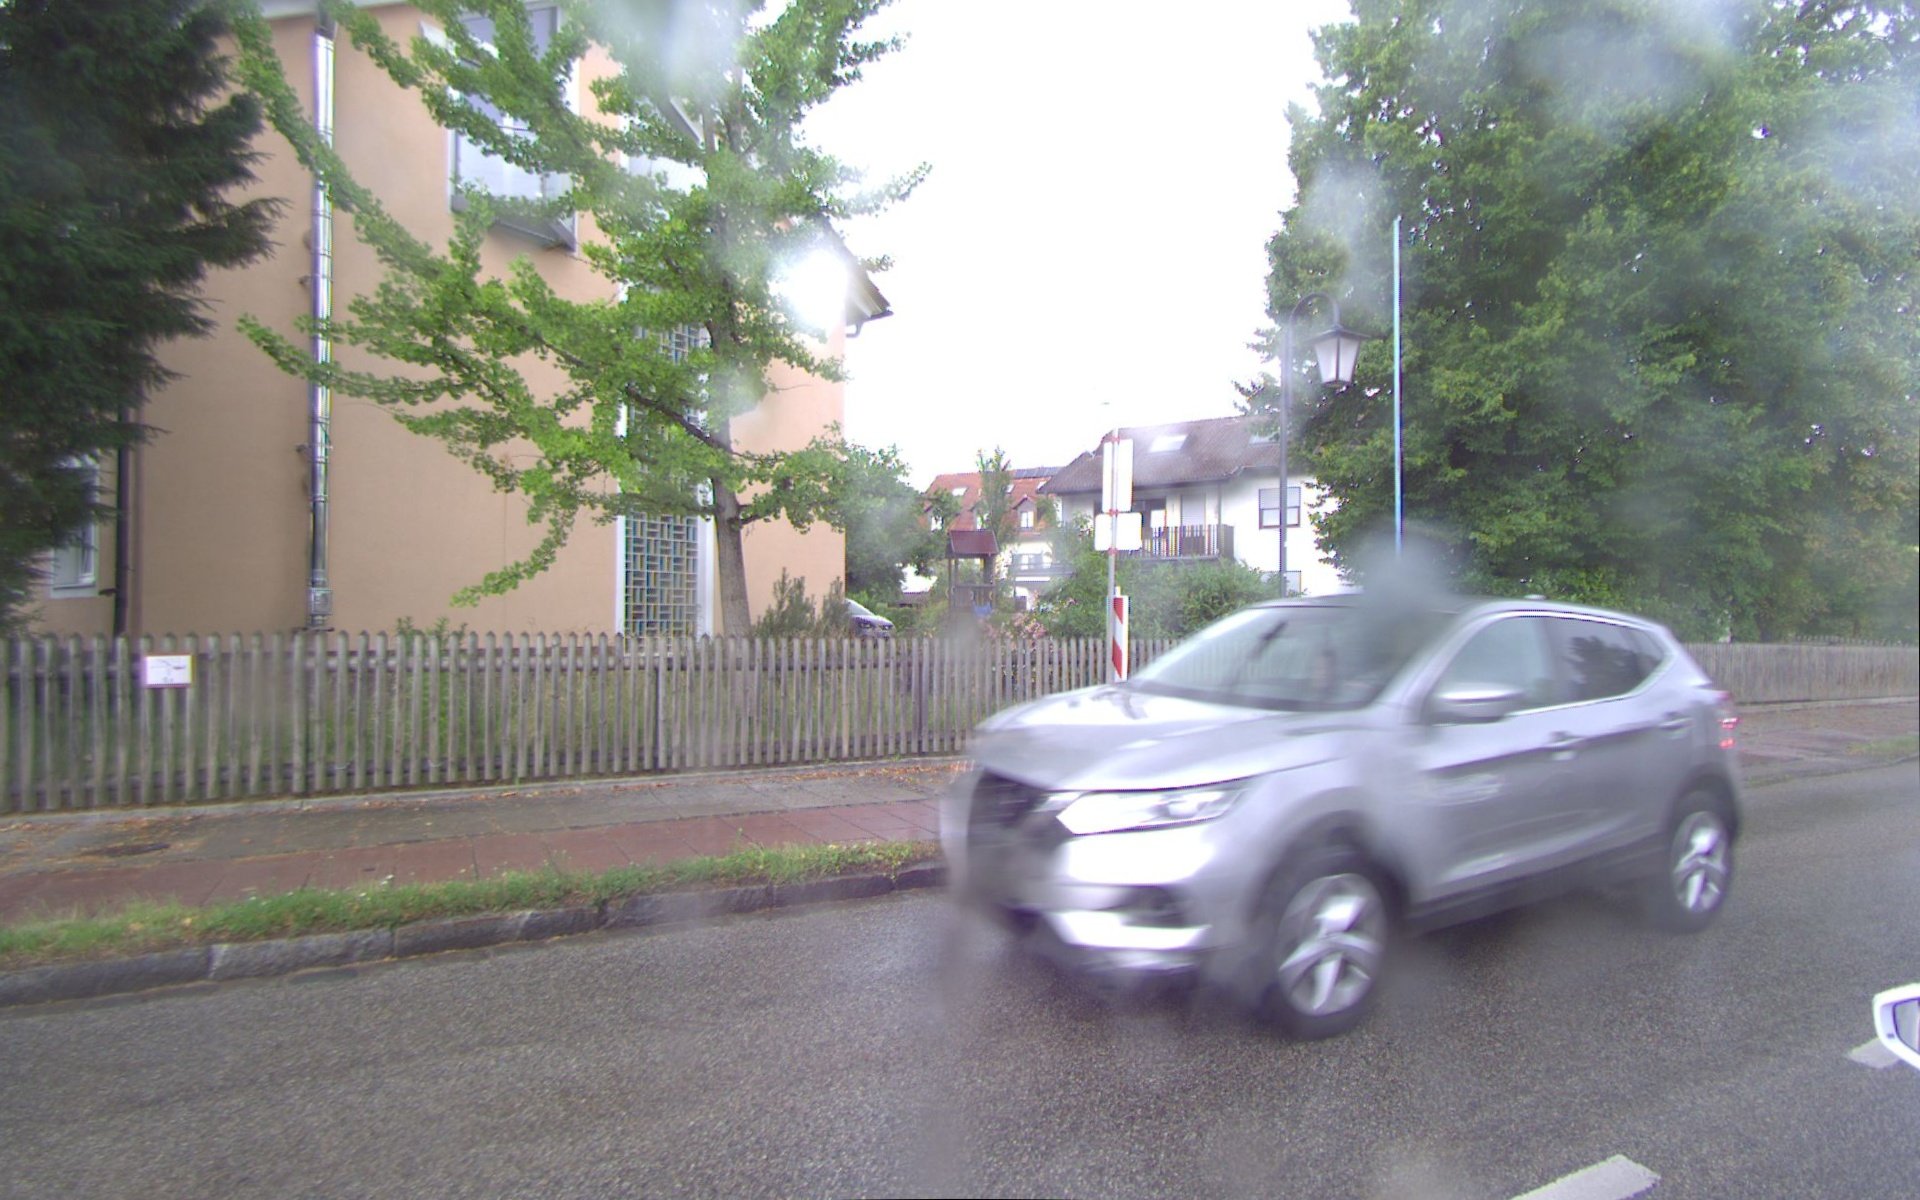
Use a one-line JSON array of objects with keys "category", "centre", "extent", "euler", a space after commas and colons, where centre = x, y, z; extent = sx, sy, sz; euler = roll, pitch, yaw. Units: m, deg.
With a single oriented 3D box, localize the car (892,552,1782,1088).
[{"category": "car", "centre": [1.933, 0.735, 4.816], "extent": [4.129, 1.579, 1.819], "euler": [2, -2, -30]}]
